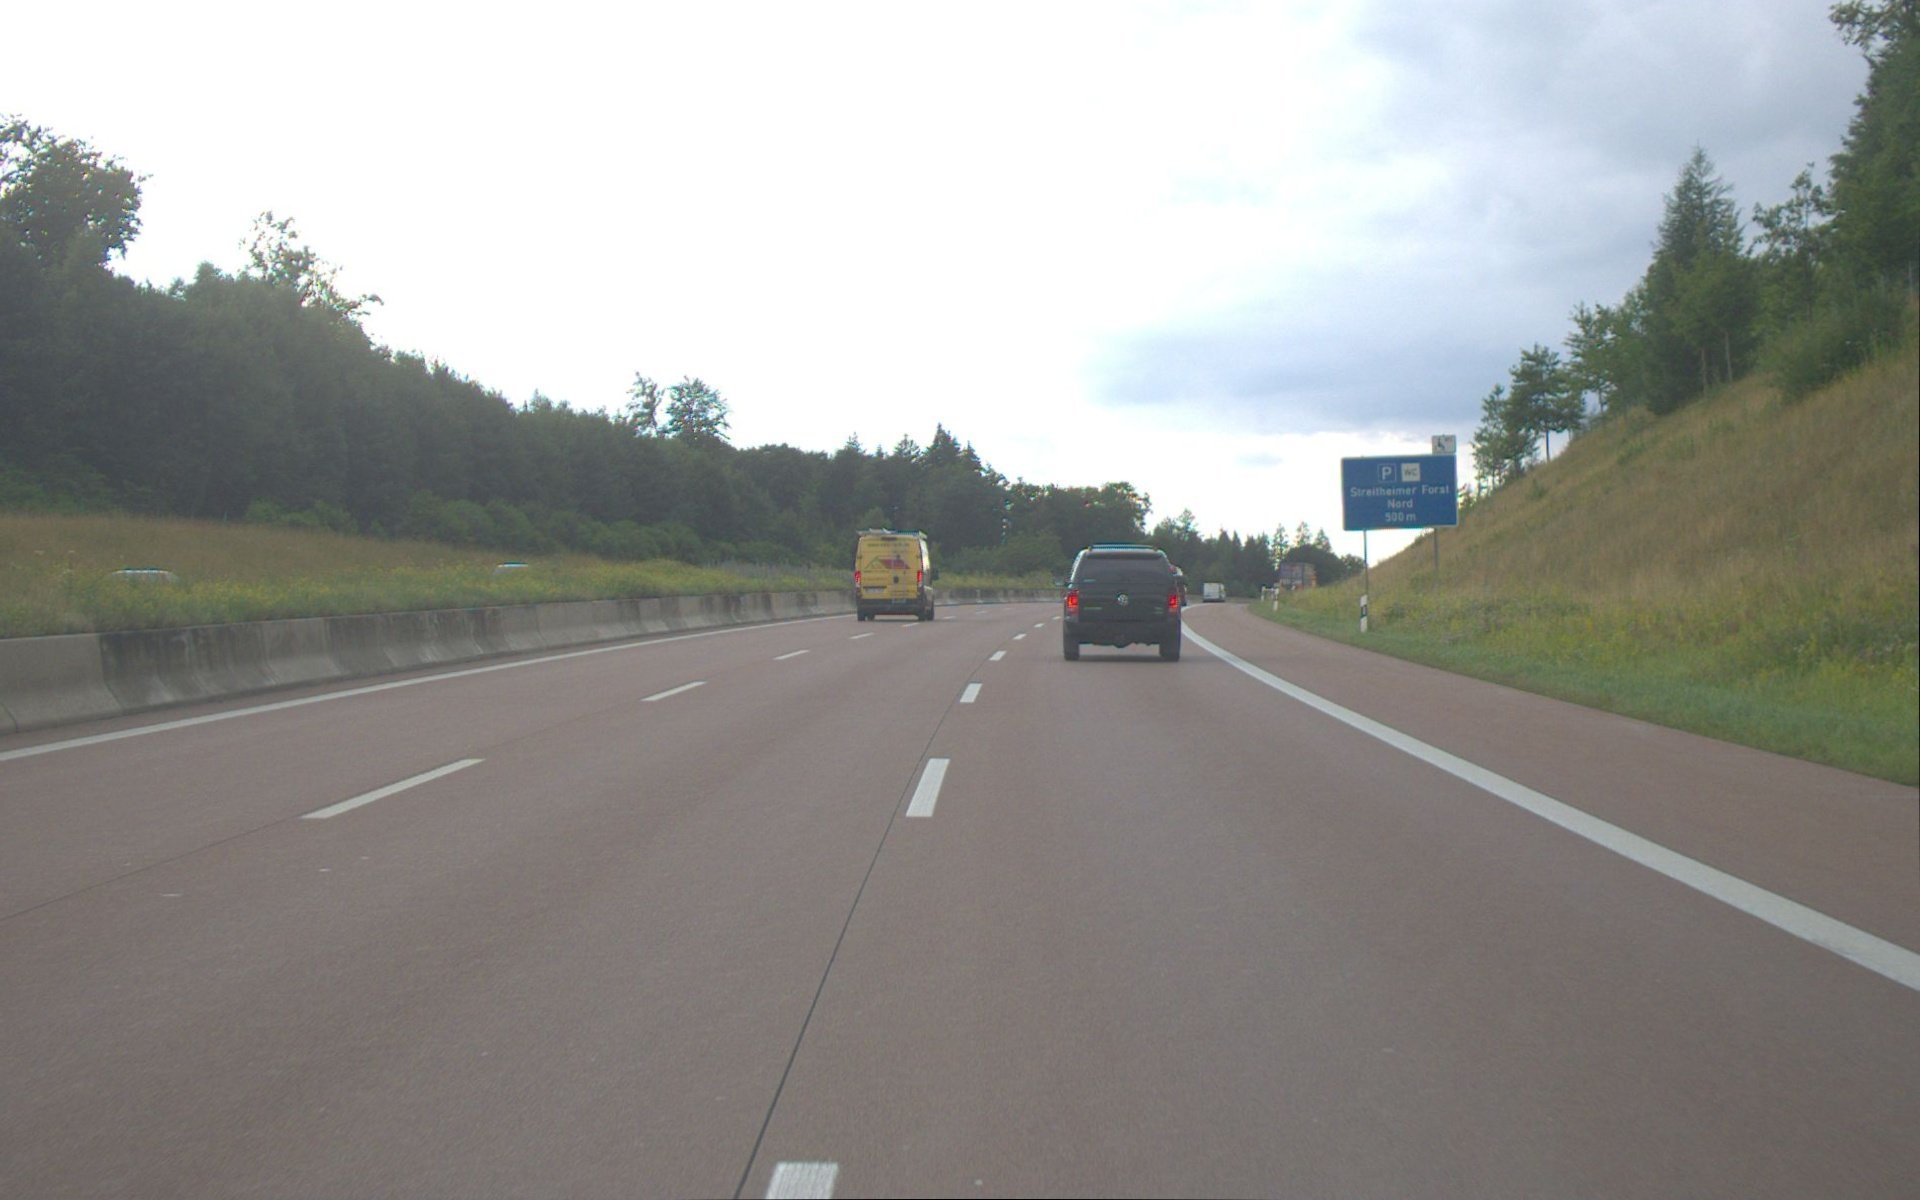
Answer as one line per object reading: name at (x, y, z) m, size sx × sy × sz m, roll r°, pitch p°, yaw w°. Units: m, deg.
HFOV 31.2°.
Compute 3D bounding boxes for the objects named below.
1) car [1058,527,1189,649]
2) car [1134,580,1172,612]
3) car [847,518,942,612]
car at (2.675, -0.163, 56.827) m, size 2.044 × 1.890 × 5.576 m, roll 0°, pitch -1°, yaw 2°
car at (10.116, -0.204, 180.288) m, size 1.978 × 1.642 × 4.618 m, roll 0°, pitch -1°, yaw 3°
car at (-1.939, -1.004, 103.294) m, size 2.459 × 2.697 × 5.613 m, roll 0°, pitch -1°, yaw 3°
